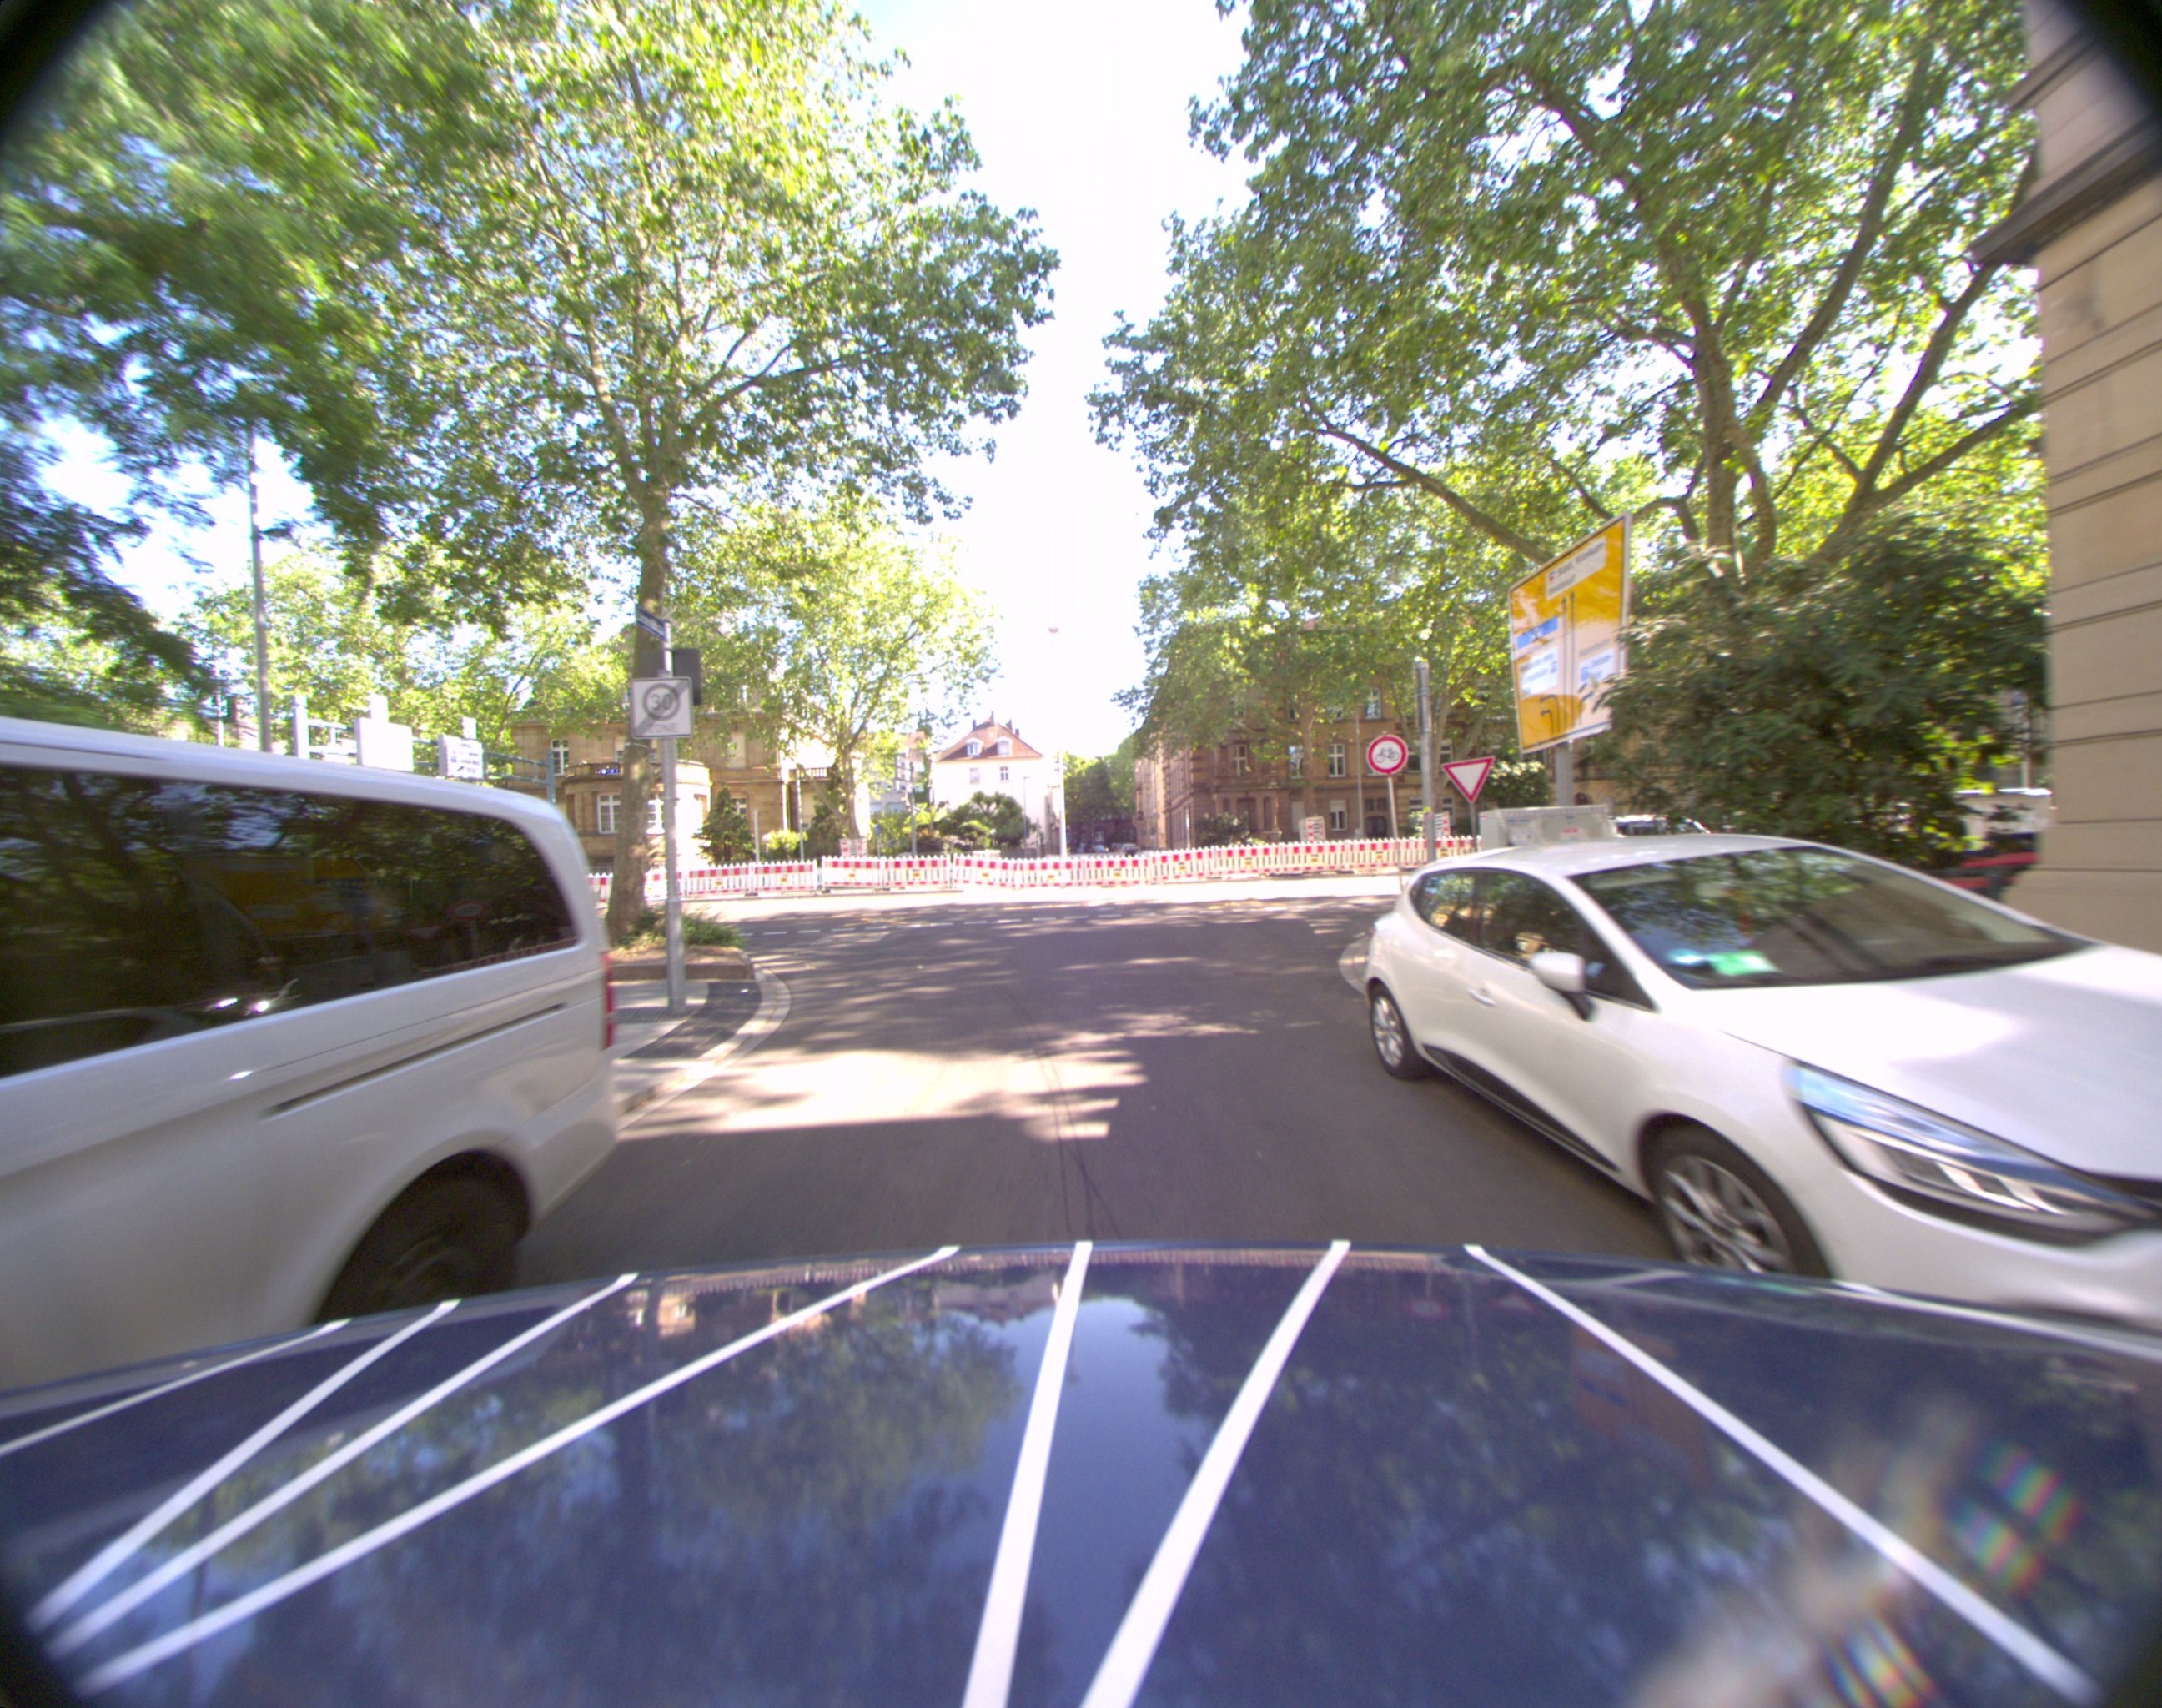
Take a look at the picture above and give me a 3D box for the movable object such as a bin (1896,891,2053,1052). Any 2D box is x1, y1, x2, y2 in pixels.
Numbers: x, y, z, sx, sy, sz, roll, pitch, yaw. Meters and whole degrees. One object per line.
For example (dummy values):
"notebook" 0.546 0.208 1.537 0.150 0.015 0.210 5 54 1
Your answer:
"movable object such as a bin" 5.852 0.747 4.997 0.398 0.965 0.520 -2 1 1

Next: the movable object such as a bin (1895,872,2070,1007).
"movable object such as a bin" 7.071 0.646 5.993 0.547 0.965 0.689 -2 1 1

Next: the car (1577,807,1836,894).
"car" 14.293 -0.103 17.535 4.504 1.716 1.869 -2 2 -2

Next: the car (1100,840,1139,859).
"car" 3.887 -0.490 76.697 3.800 1.726 1.623 -2 0 1

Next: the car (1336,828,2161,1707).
"car" 2.733 0.745 3.258 1.871 1.552 3.941 -4 1 0

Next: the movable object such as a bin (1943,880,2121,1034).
"movable object such as a bin" 6.506 0.684 5.222 0.547 0.965 0.520 -2 1 1

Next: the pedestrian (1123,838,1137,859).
"pedestrian" 3.918 -0.412 60.974 0.761 1.651 0.826 -3 1 -26

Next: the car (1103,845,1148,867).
"car" 3.878 0.157 66.274 3.800 1.726 1.623 -2 0 1

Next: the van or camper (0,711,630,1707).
"van or camper" -2.750 0.796 0.432 1.898 2.002 5.031 -2 0 0
